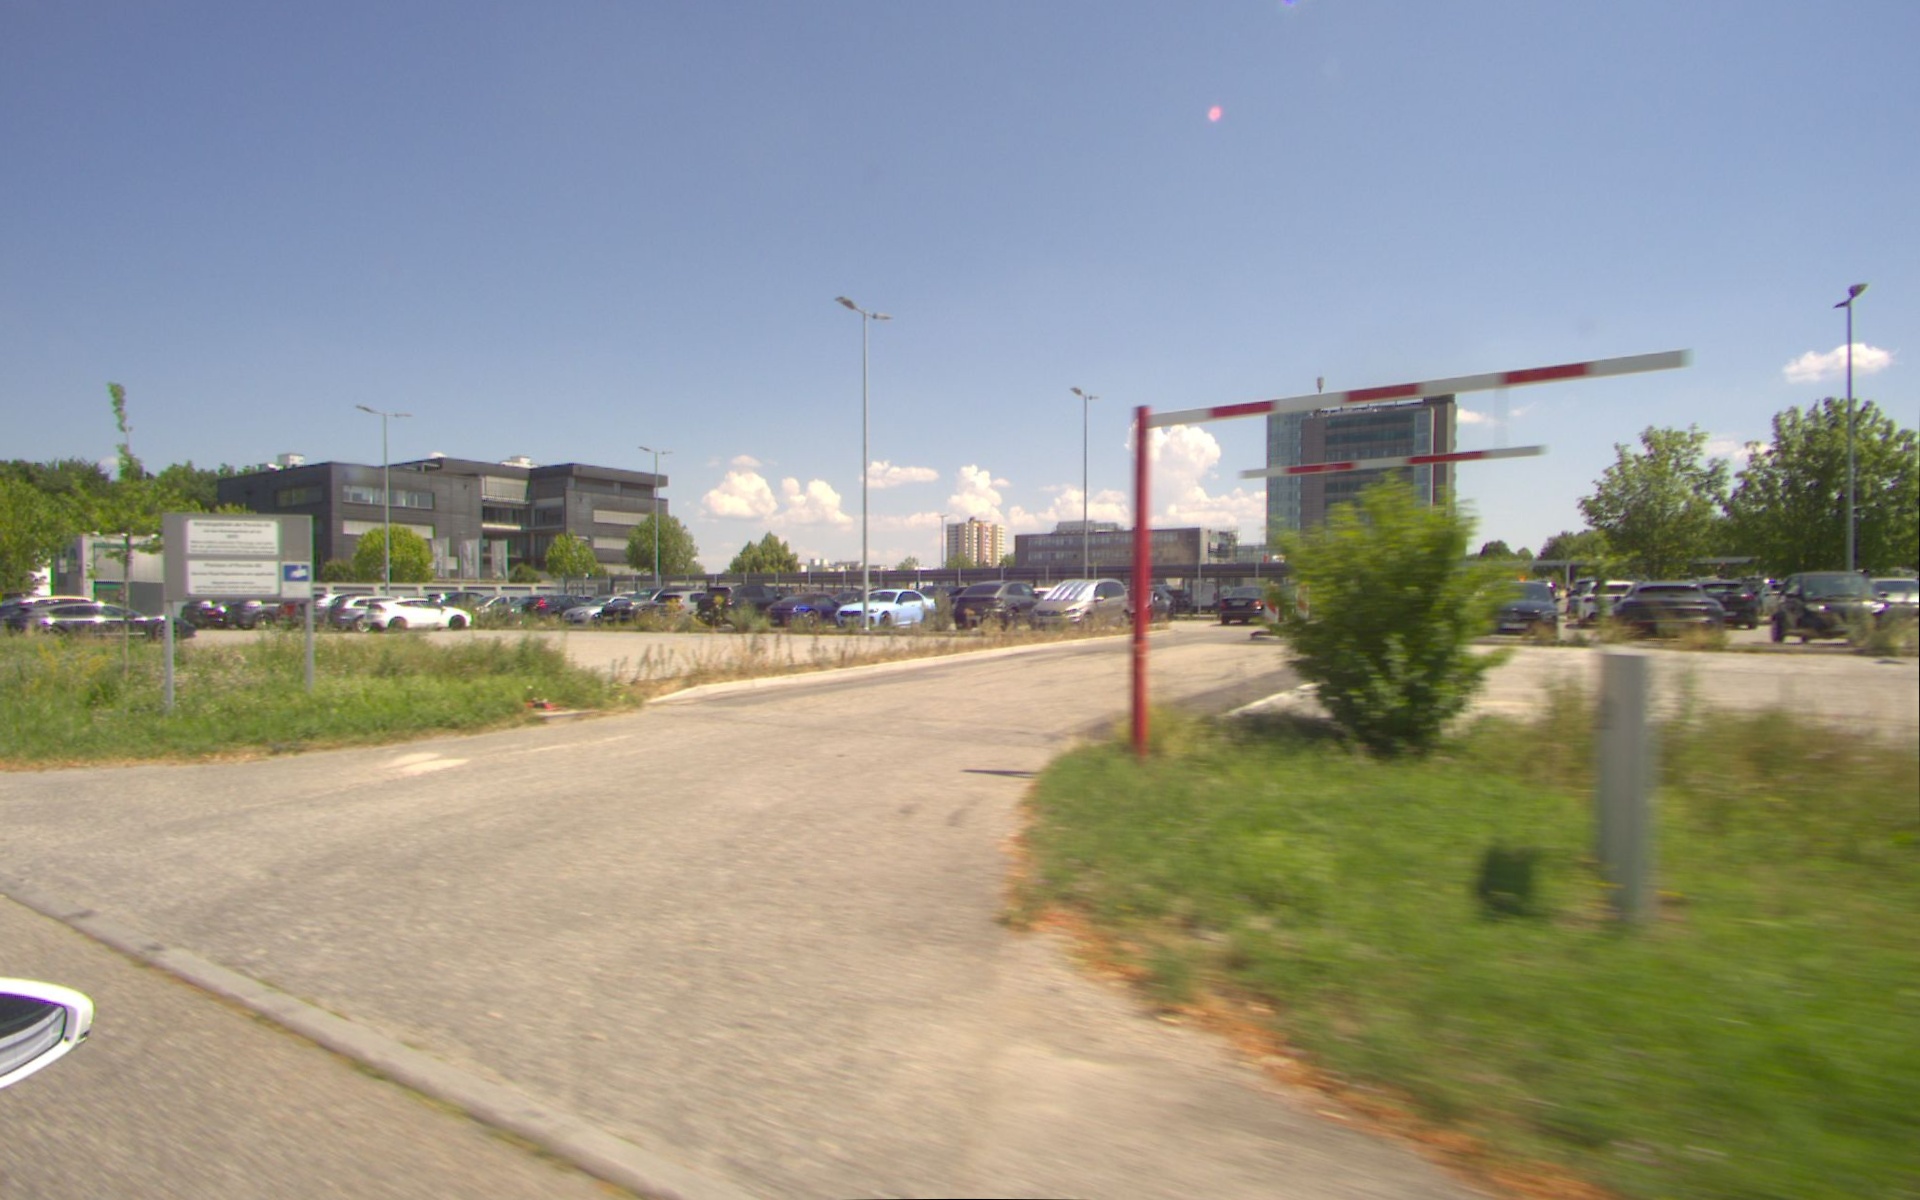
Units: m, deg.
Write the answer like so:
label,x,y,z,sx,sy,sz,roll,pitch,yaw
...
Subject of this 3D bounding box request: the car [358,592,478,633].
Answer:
label,x,y,z,sx,sy,sz,roll,pitch,yaw
car,-21.852,0.469,40.506,1.742,1.420,3.979,4,3,30

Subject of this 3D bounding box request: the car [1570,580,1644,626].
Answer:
label,x,y,z,sx,sy,sz,roll,pitch,yaw
car,20.641,0.079,32.056,1.670,1.359,3.982,-1,1,28

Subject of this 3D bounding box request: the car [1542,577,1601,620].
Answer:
label,x,y,z,sx,sy,sz,roll,pitch,yaw
car,23.062,-0.078,37.840,1.670,1.539,3.982,-1,1,28

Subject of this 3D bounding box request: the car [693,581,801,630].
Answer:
label,x,y,z,sx,sy,sz,roll,pitch,yaw
car,-7.986,0.148,37.826,1.832,1.618,3.980,4,3,29

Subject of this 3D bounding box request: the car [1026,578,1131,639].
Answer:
label,x,y,z,sx,sy,sz,roll,pitch,yaw
car,3.667,0.191,30.489,1.741,1.618,3.980,4,3,29

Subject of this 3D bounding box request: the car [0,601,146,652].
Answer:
label,x,y,z,sx,sy,sz,roll,pitch,yaw
car,-30.160,0.839,33.528,1.741,1.420,4.156,3,3,29

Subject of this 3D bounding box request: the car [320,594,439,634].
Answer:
label,x,y,z,sx,sy,sz,roll,pitch,yaw
car,-24.065,0.549,41.641,1.741,1.420,3.980,3,3,29

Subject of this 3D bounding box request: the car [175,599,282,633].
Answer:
label,x,y,z,sx,sy,sz,roll,pitch,yaw
car,-36.489,0.763,50.034,1.741,1.420,3.980,3,3,29

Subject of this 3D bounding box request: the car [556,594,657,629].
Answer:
label,x,y,z,sx,sy,sz,roll,pitch,yaw
car,-15.176,0.456,43.181,1.741,1.289,3.980,3,3,29

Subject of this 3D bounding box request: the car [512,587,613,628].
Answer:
label,x,y,z,sx,sy,sz,roll,pitch,yaw
car,-17.692,0.291,44.728,1.741,1.618,3.980,4,3,29

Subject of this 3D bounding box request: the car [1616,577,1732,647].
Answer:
label,x,y,z,sx,sy,sz,roll,pitch,yaw
car,15.727,0.221,22.234,1.900,1.414,3.977,0,1,33

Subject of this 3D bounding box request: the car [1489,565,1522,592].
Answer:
label,x,y,z,sx,sy,sz,roll,pitch,yaw
car,43.189,-1.721,79.244,1.970,2.042,3.979,4,4,31

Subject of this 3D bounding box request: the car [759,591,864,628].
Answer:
label,x,y,z,sx,sy,sz,roll,pitch,yaw
car,-5.388,0.304,36.804,1.741,1.124,3.980,3,3,29

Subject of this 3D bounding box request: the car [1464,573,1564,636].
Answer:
label,x,y,z,sx,sy,sz,roll,pitch,yaw
car,13.619,0.085,24.514,1.900,1.414,3.977,0,1,33

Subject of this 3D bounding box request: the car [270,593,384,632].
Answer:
label,x,y,z,sx,sy,sz,roll,pitch,yaw
car,-28.382,0.524,45.001,1.741,1.482,3.980,4,3,29

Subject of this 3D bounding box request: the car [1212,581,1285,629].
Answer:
label,x,y,z,sx,sy,sz,roll,pitch,yaw
car,11.028,0.132,38.150,1.741,1.618,3.980,4,3,29

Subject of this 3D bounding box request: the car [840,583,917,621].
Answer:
label,x,y,z,sx,sy,sz,roll,pitch,yaw
car,-3.849,0.045,47.943,1.741,1.618,3.980,4,3,29

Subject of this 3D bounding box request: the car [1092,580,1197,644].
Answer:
label,x,y,z,sx,sy,sz,roll,pitch,yaw
car,5.417,0.280,29.007,1.741,1.618,3.980,4,3,29

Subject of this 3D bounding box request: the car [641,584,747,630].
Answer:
label,x,y,z,sx,sy,sz,roll,pitch,yaw
car,-10.441,0.220,39.564,1.741,1.618,3.980,4,3,29

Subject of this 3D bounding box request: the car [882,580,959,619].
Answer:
label,x,y,z,sx,sy,sz,roll,pitch,yaw
car,-1.773,-0.048,46.222,1.741,1.618,3.980,4,3,29

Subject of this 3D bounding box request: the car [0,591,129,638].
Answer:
label,x,y,z,sx,sy,sz,roll,pitch,yaw
car,-32.033,0.481,35.065,1.741,1.420,4.156,3,3,29

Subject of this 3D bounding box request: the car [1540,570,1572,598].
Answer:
label,x,y,z,sx,sy,sz,roll,pitch,yaw
car,46.205,-1.280,77.704,1.970,2.042,3.979,4,4,31

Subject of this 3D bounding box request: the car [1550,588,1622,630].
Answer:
label,x,y,z,sx,sy,sz,roll,pitch,yaw
car,28.610,0.379,45.903,1.965,1.663,3.988,3,3,21

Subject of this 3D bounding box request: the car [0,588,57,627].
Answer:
label,x,y,z,sx,sy,sz,roll,pitch,yaw
car,-38.765,0.302,39.641,1.741,1.420,4.156,3,3,29

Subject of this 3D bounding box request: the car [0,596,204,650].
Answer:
label,x,y,z,sx,sy,sz,roll,pitch,yaw
car,-27.373,0.675,32.056,1.894,1.420,4.689,4,4,35

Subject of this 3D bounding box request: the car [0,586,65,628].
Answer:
label,x,y,z,sx,sy,sz,roll,pitch,yaw
car,-36.167,0.274,37.087,1.741,1.420,4.156,3,3,29

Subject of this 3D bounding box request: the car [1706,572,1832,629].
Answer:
label,x,y,z,sx,sy,sz,roll,pitch,yaw
car,26.459,-0.053,32.933,1.965,1.663,3.988,3,3,21

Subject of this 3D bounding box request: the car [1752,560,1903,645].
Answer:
label,x,y,z,sx,sy,sz,roll,pitch,yaw
car,18.630,0.034,21.691,1.900,1.663,3.977,0,1,33

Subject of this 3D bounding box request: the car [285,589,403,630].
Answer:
label,x,y,z,sx,sy,sz,roll,pitch,yaw
car,-26.388,0.378,43.045,1.741,1.511,3.980,4,3,29

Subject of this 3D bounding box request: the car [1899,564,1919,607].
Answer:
label,x,y,z,sx,sy,sz,roll,pitch,yaw
car,38.519,-0.506,38.541,1.965,1.663,3.988,3,3,21

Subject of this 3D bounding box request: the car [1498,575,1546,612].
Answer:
label,x,y,z,sx,sy,sz,roll,pitch,yaw
car,27.347,-0.346,48.687,1.768,1.663,3.978,4,3,32

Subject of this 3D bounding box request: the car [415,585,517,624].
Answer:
label,x,y,z,sx,sy,sz,roll,pitch,yaw
car,-23.030,0.183,46.823,1.741,1.618,3.980,4,3,29

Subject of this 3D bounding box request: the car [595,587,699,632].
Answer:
label,x,y,z,sx,sy,sz,roll,pitch,yaw
car,-12.798,0.329,41.134,1.741,1.618,3.980,4,3,29

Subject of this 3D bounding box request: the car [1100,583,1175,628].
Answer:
label,x,y,z,sx,sy,sz,roll,pitch,yaw
car,7.229,0.166,40.515,1.741,1.618,3.980,4,3,29

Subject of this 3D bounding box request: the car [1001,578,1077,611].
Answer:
label,x,y,z,sx,sy,sz,roll,pitch,yaw
car,3.393,-0.257,42.328,1.704,1.209,3.981,3,3,28

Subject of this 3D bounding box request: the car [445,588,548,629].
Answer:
label,x,y,z,sx,sy,sz,roll,pitch,yaw
car,-20.887,0.346,45.301,1.741,1.618,3.980,4,3,29

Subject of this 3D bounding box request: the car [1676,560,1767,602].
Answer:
label,x,y,z,sx,sy,sz,roll,pitch,yaw
car,32.775,-0.855,43.232,1.965,1.663,3.988,3,3,21

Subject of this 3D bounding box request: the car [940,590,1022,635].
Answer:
label,x,y,z,sx,sy,sz,roll,pitch,yaw
car,0.960,0.510,43.849,1.968,1.707,3.981,3,3,28

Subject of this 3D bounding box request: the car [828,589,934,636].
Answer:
label,x,y,z,sx,sy,sz,roll,pitch,yaw
car,-2.702,0.392,34.952,1.741,1.412,3.980,3,3,29

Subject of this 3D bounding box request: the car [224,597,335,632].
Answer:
label,x,y,z,sx,sy,sz,roll,pitch,yaw
car,-32.027,0.652,47.238,1.741,1.420,3.980,3,3,29

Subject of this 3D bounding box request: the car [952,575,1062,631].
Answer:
label,x,y,z,sx,sy,sz,roll,pitch,yaw
car,1.588,0.033,32.390,1.741,1.618,4.359,4,3,29

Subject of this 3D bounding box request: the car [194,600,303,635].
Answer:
label,x,y,z,sx,sy,sz,roll,pitch,yaw
car,-34.529,0.810,48.708,1.741,1.420,3.980,3,3,29

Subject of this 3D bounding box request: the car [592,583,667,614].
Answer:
label,x,y,z,sx,sy,sz,roll,pitch,yaw
car,-19.173,-0.113,58.219,1.741,1.618,3.980,4,3,29
